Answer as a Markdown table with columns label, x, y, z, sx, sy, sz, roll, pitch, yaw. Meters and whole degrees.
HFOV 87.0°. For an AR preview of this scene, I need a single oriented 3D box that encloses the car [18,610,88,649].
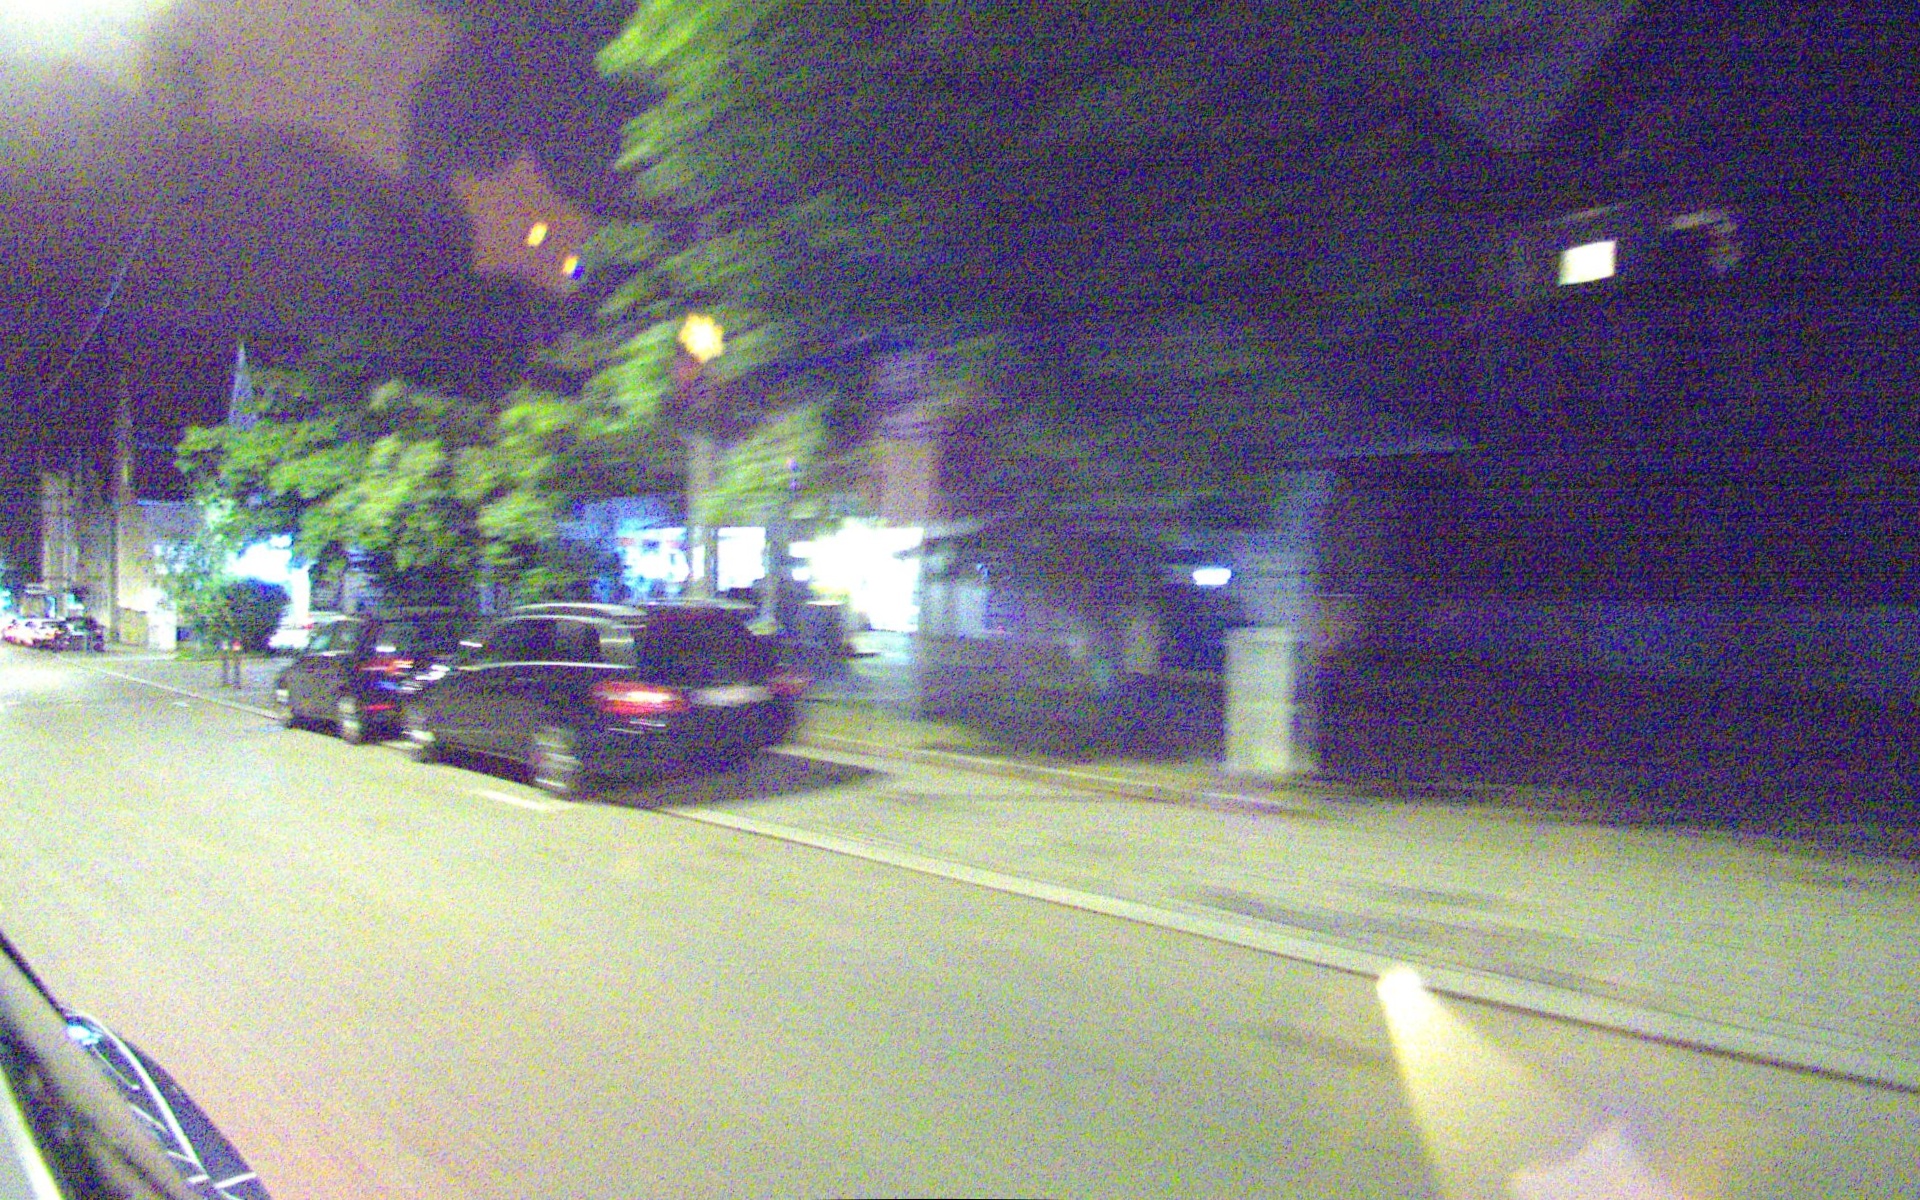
| label | x | y | z | sx | sy | sz | roll | pitch | yaw |
| --- | --- | --- | --- | --- | --- | --- | --- | --- | --- |
| car | -40.884 | 1.305 | 45.596 | 3.997 | 1.657 | 1.850 | -1 | 0 | 41 |

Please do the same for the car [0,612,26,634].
| label | x | y | z | sx | sy | sz | roll | pitch | yaw |
| --- | --- | --- | --- | --- | --- | --- | --- | --- | --- |
| car | -69.061 | 1.662 | 73.287 | 4.355 | 1.572 | 1.848 | -1 | 0 | 45 |

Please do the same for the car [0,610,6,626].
| label | x | y | z | sx | sy | sz | roll | pitch | yaw |
| --- | --- | --- | --- | --- | --- | --- | --- | --- | --- |
| car | -94.359 | 1.768 | 98.619 | 4.355 | 1.572 | 1.848 | -1 | 0 | 45 |

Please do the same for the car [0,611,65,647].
| label | x | y | z | sx | sy | sz | roll | pitch | yaw |
| --- | --- | --- | --- | --- | --- | --- | --- | --- | --- |
| car | -45.435 | 1.382 | 49.544 | 3.997 | 1.657 | 1.850 | -1 | 0 | 41 |

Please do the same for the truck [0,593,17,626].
| label | x | y | z | sx | sy | sz | roll | pitch | yaw |
| --- | --- | --- | --- | --- | --- | --- | --- | --- | --- |
| truck | -76.952 | 0.797 | 80.864 | 6.876 | 2.596 | 2.056 | -1 | 0 | 45 |

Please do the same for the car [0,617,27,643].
| label | x | y | z | sx | sy | sz | roll | pitch | yaw |
| --- | --- | --- | --- | --- | --- | --- | --- | --- | --- |
| car | -60.532 | 1.880 | 64.146 | 4.002 | 1.572 | 1.848 | -1 | 0 | 45 |

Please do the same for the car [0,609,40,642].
| label | x | y | z | sx | sy | sz | roll | pitch | yaw |
| --- | --- | --- | --- | --- | --- | --- | --- | --- | --- |
| car | -50.975 | 1.361 | 54.357 | 3.997 | 1.657 | 1.850 | -1 | 0 | 41 |

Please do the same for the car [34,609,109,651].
| label | x | y | z | sx | sy | sz | roll | pitch | yaw |
| --- | --- | --- | --- | --- | --- | --- | --- | --- | --- |
| car | -37.537 | 1.241 | 42.727 | 3.997 | 1.657 | 1.850 | -1 | 0 | 41 |

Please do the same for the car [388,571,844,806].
| label | x | y | z | sx | sy | sz | roll | pitch | yaw |
| --- | --- | --- | --- | --- | --- | --- | --- | --- | --- |
| car | -3.263 | 0.605 | 9.036 | 4.587 | 1.544 | 1.840 | -1 | 2 | 43 |

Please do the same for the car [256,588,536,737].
| label | x | y | z | sx | sy | sz | roll | pitch | yaw |
| --- | --- | --- | --- | --- | --- | --- | --- | --- | --- |
| car | -7.048 | 0.664 | 12.489 | 3.897 | 1.477 | 1.840 | -1 | 2 | 43 |

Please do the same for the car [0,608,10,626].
| label | x | y | z | sx | sy | sz | roll | pitch | yaw |
| --- | --- | --- | --- | --- | --- | --- | --- | --- | --- |
| car | -86.717 | 1.570 | 90.922 | 4.355 | 1.572 | 1.848 | -1 | 0 | 45 |
